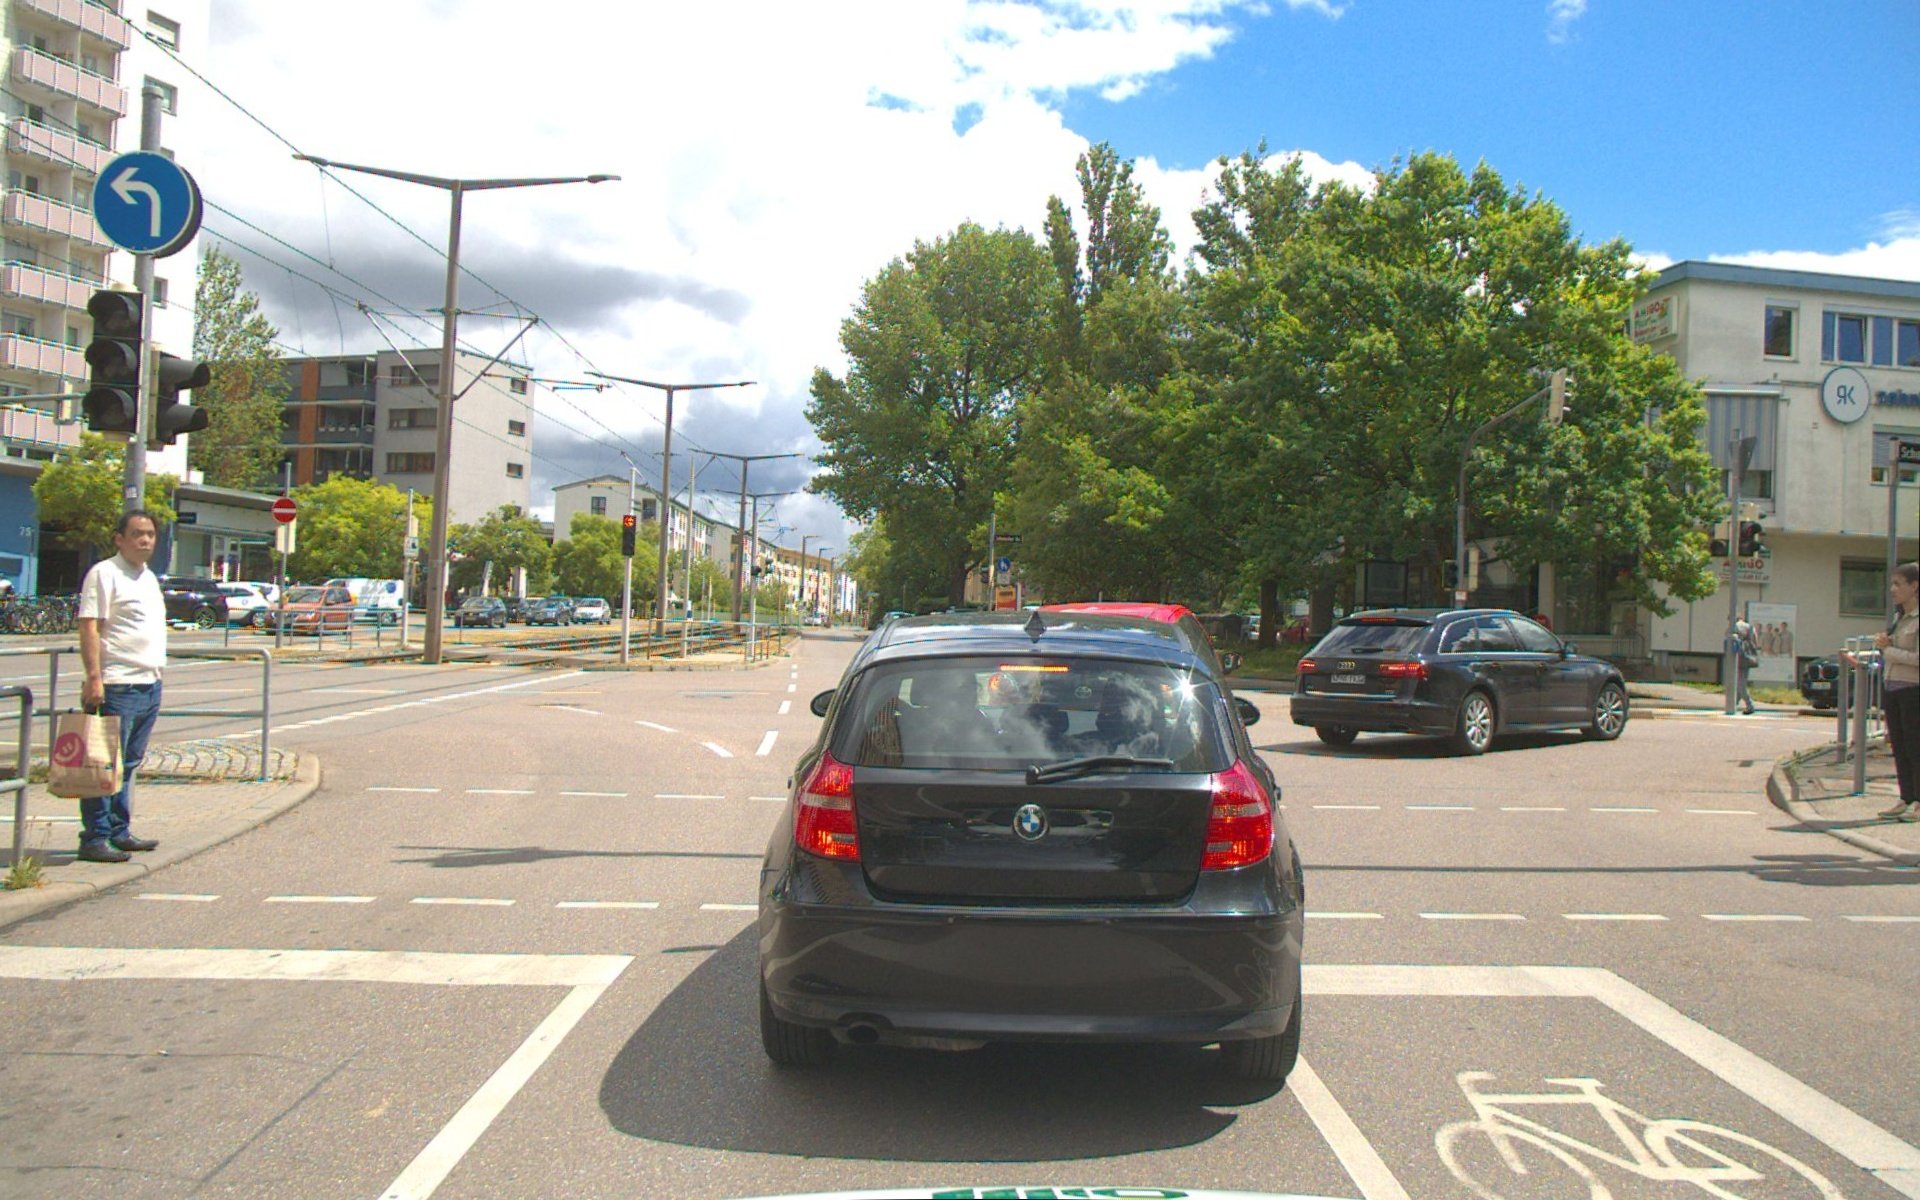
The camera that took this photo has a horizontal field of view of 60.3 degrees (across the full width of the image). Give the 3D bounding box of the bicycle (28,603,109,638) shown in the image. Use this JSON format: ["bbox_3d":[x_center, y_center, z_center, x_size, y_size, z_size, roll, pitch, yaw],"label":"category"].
[{"bbox_3d":[-24.874,0.569,46.182,1.909,0.951,0.494,1,-1,-7],"label":"bicycle"}]

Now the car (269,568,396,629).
[{"bbox_3d":[-27.339,-0.096,71.876,2.811,2.522,6.614,1,0,-44],"label":"car"}]

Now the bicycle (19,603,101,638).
[{"bbox_3d":[-24.831,0.567,45.654,1.909,0.951,0.494,1,-1,-7],"label":"bicycle"}]

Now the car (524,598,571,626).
[{"bbox_3d":[-22.055,0.649,88.587,1.602,1.424,4.491,2,-1,-3],"label":"car"}]

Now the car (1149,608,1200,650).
[{"bbox_3d":[10.056,1.338,77.647,1.598,1.842,4.029,1,0,-4],"label":"car"}]

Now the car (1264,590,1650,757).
[{"bbox_3d":[5.481,0.729,17.951,4.481,1.581,1.970,1,-1,-42],"label":"car"}]

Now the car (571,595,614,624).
[{"bbox_3d":[-22.697,0.551,102.288,1.898,1.722,3.871,1,0,-2],"label":"car"}]

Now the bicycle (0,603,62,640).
[{"bbox_3d":[-24.762,0.560,43.552,1.909,0.951,0.494,1,-1,-7],"label":"bicycle"}]

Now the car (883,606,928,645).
[{"bbox_3d":[-2.516,1.150,77.253,1.953,1.713,3.999,1,0,-1],"label":"car"}]

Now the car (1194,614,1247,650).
[{"bbox_3d":[12.306,1.509,78.332,1.598,1.600,4.029,1,0,-4],"label":"car"}]

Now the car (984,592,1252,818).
[{"bbox_3d":[1.325,0.702,12.743,1.509,1.466,3.198,1,0,15],"label":"car"}]

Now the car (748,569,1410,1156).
[{"bbox_3d":[0.290,0.688,6.366,1.717,1.513,3.999,1,0,-1],"label":"car"}]

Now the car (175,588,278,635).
[{"bbox_3d":[-26.794,0.413,60.394,4.144,1.597,1.949,1,0,43],"label":"car"}]

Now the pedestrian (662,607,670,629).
[{"bbox_3d":[-22.810,1.409,128.364,0.469,1.665,0.454,1,0,-2],"label":"pedestrian"}]

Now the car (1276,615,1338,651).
[{"bbox_3d":[16.758,1.571,80.070,1.698,1.623,3.993,1,0,-8],"label":"car"}]

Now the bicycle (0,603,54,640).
[{"bbox_3d":[-24.713,0.559,43.063,1.909,0.951,0.494,1,-1,-7],"label":"bicycle"}]

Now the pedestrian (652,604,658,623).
[{"bbox_3d":[-27.028,1.170,146.356,0.444,1.665,0.479,1,0,-6],"label":"pedestrian"}]

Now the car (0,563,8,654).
[{"bbox_3d":[-20.184,0.175,31.280,1.954,1.833,4.506,0,0,-4],"label":"car"}]

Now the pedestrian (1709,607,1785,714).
[{"bbox_3d":[12.738,0.962,26.802,0.753,1.672,0.907,1,0,-1],"label":"pedestrian"}]

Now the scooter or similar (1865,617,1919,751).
[{"bbox_3d":[9.140,0.788,15.387,1.338,1.176,0.539,3,0,-26],"label":"scooter or similar"}]

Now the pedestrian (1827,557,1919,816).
[{"bbox_3d":[6.551,0.571,11.292,0.932,1.703,0.871,0,0,14],"label":"pedestrian"}]

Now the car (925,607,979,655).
[{"bbox_3d":[-0.320,1.152,62.060,1.953,1.713,3.999,1,-1,-1],"label":"car"}]

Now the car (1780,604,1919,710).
[{"bbox_3d":[17.015,0.997,28.905,4.472,1.747,1.997,1,0,-8],"label":"car"}]

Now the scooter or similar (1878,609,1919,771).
[{"bbox_3d":[8.337,0.745,13.566,1.315,1.299,0.462,1,1,6],"label":"scooter or similar"}]

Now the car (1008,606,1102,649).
[{"bbox_3d":[4.380,1.267,76.203,3.933,1.855,1.766,1,0,-24],"label":"car"}]

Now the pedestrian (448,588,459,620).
[{"bbox_3d":[-28.449,0.220,92.872,0.537,1.746,0.404,1,0,-11],"label":"pedestrian"}]

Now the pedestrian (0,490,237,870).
[{"bbox_3d":[-4.294,0.393,8.457,0.851,1.839,0.741,1,0,-5],"label":"pedestrian"}]

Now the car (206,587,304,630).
[{"bbox_3d":[-27.136,0.318,63.617,4.144,1.564,1.949,1,0,43],"label":"car"}]

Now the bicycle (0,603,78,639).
[{"bbox_3d":[-24.871,0.562,44.537,1.909,0.951,0.494,1,-1,-7],"label":"bicycle"}]

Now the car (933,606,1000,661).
[{"bbox_3d":[0.180,1.101,54.621,2.108,1.713,3.999,1,-1,-1],"label":"car"}]

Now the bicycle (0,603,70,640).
[{"bbox_3d":[-24.825,0.561,44.062,1.909,0.951,0.494,1,-1,-7],"label":"bicycle"}]

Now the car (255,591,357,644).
[{"bbox_3d":[-21.609,0.552,54.843,1.955,1.663,4.455,0,0,-5],"label":"car"}]

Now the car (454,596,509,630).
[{"bbox_3d":[-21.976,0.590,76.096,1.597,1.438,4.250,1,1,-4],"label":"car"}]

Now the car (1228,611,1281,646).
[{"bbox_3d":[14.128,1.349,79.594,1.598,1.623,3.997,1,0,-4],"label":"car"}]

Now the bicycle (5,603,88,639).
[{"bbox_3d":[-24.883,0.564,45.083,1.909,0.951,0.494,1,-1,-7],"label":"bicycle"}]
